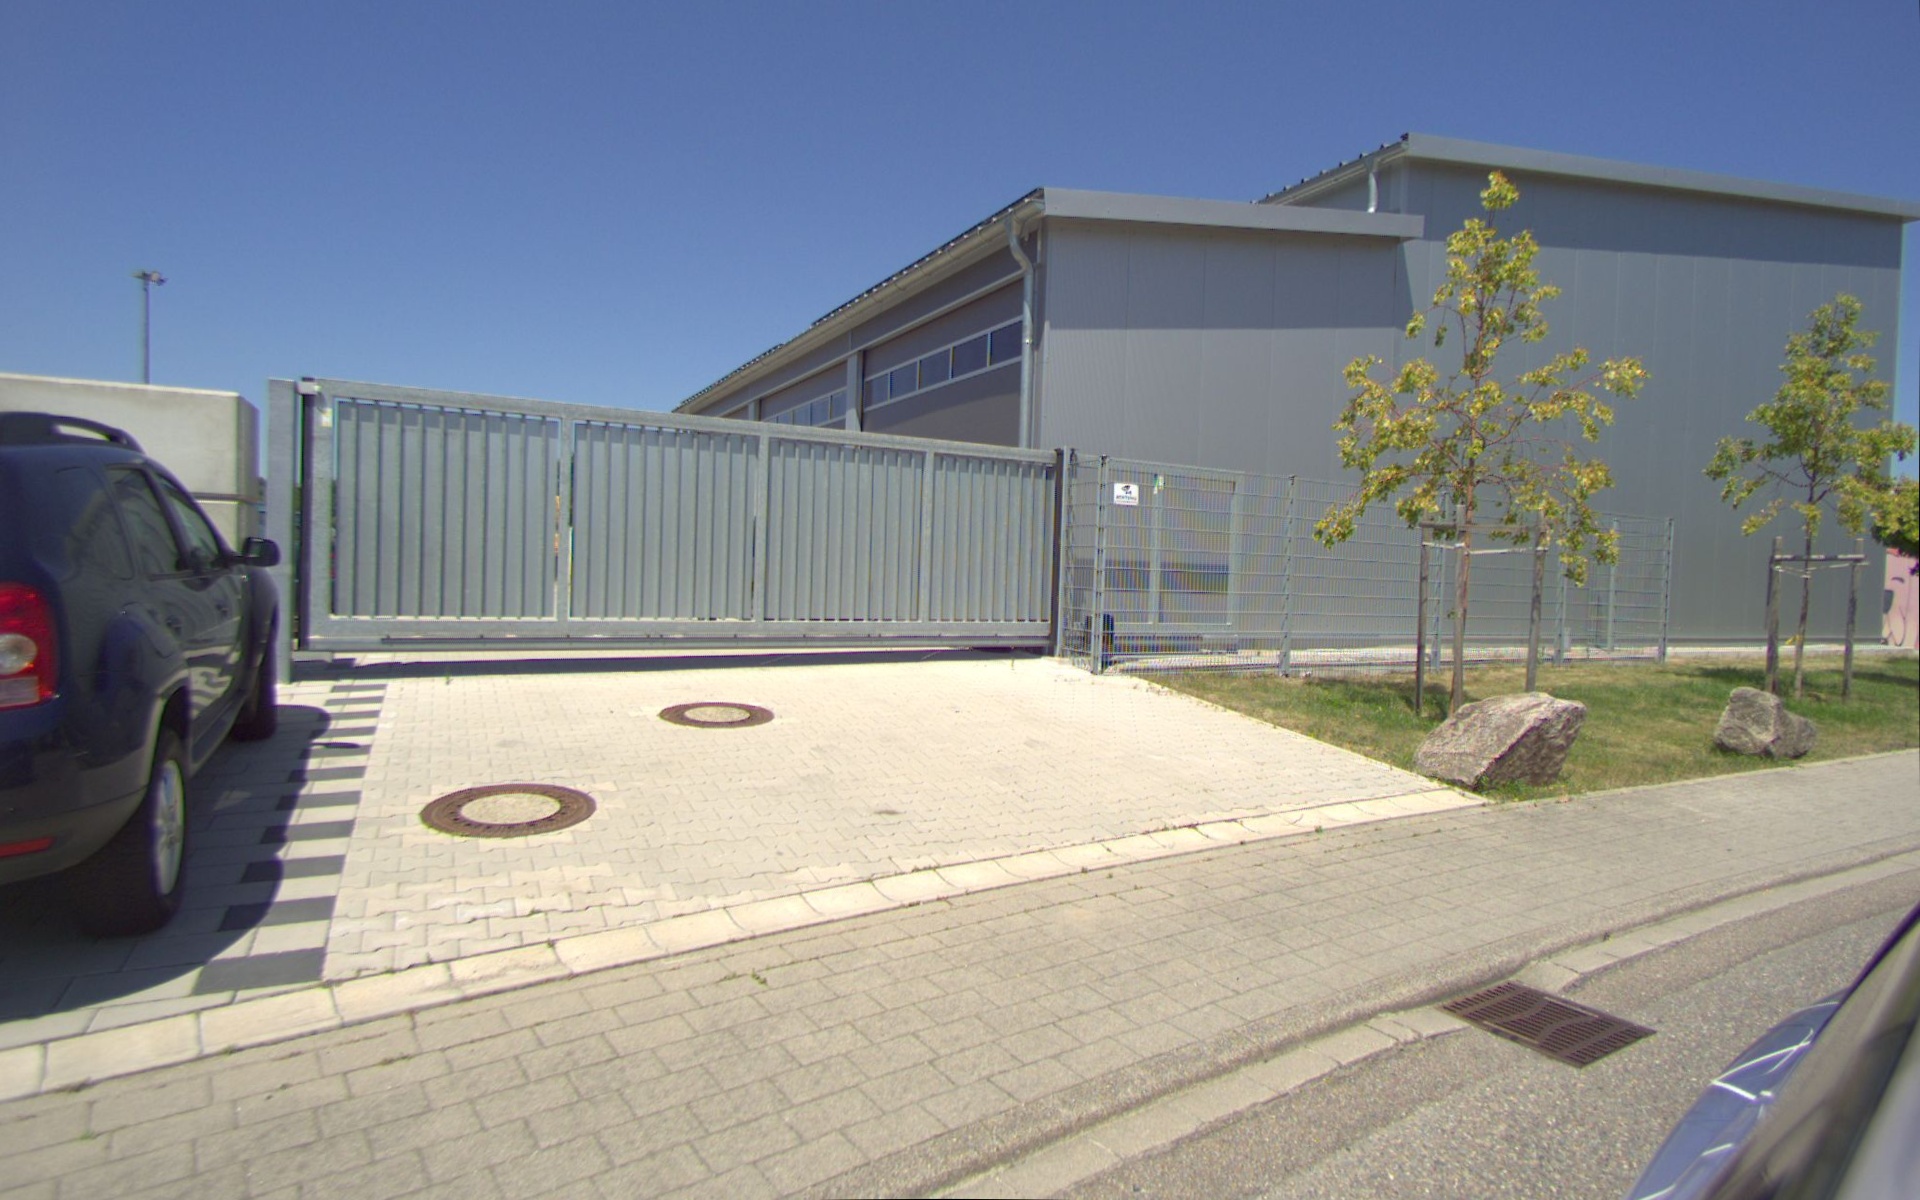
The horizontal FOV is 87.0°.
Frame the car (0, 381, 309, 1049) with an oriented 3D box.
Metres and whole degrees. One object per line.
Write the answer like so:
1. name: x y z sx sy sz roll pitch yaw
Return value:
1. car: -3.844 0.052 3.973 1.820 1.674 4.034 1 6 -28
